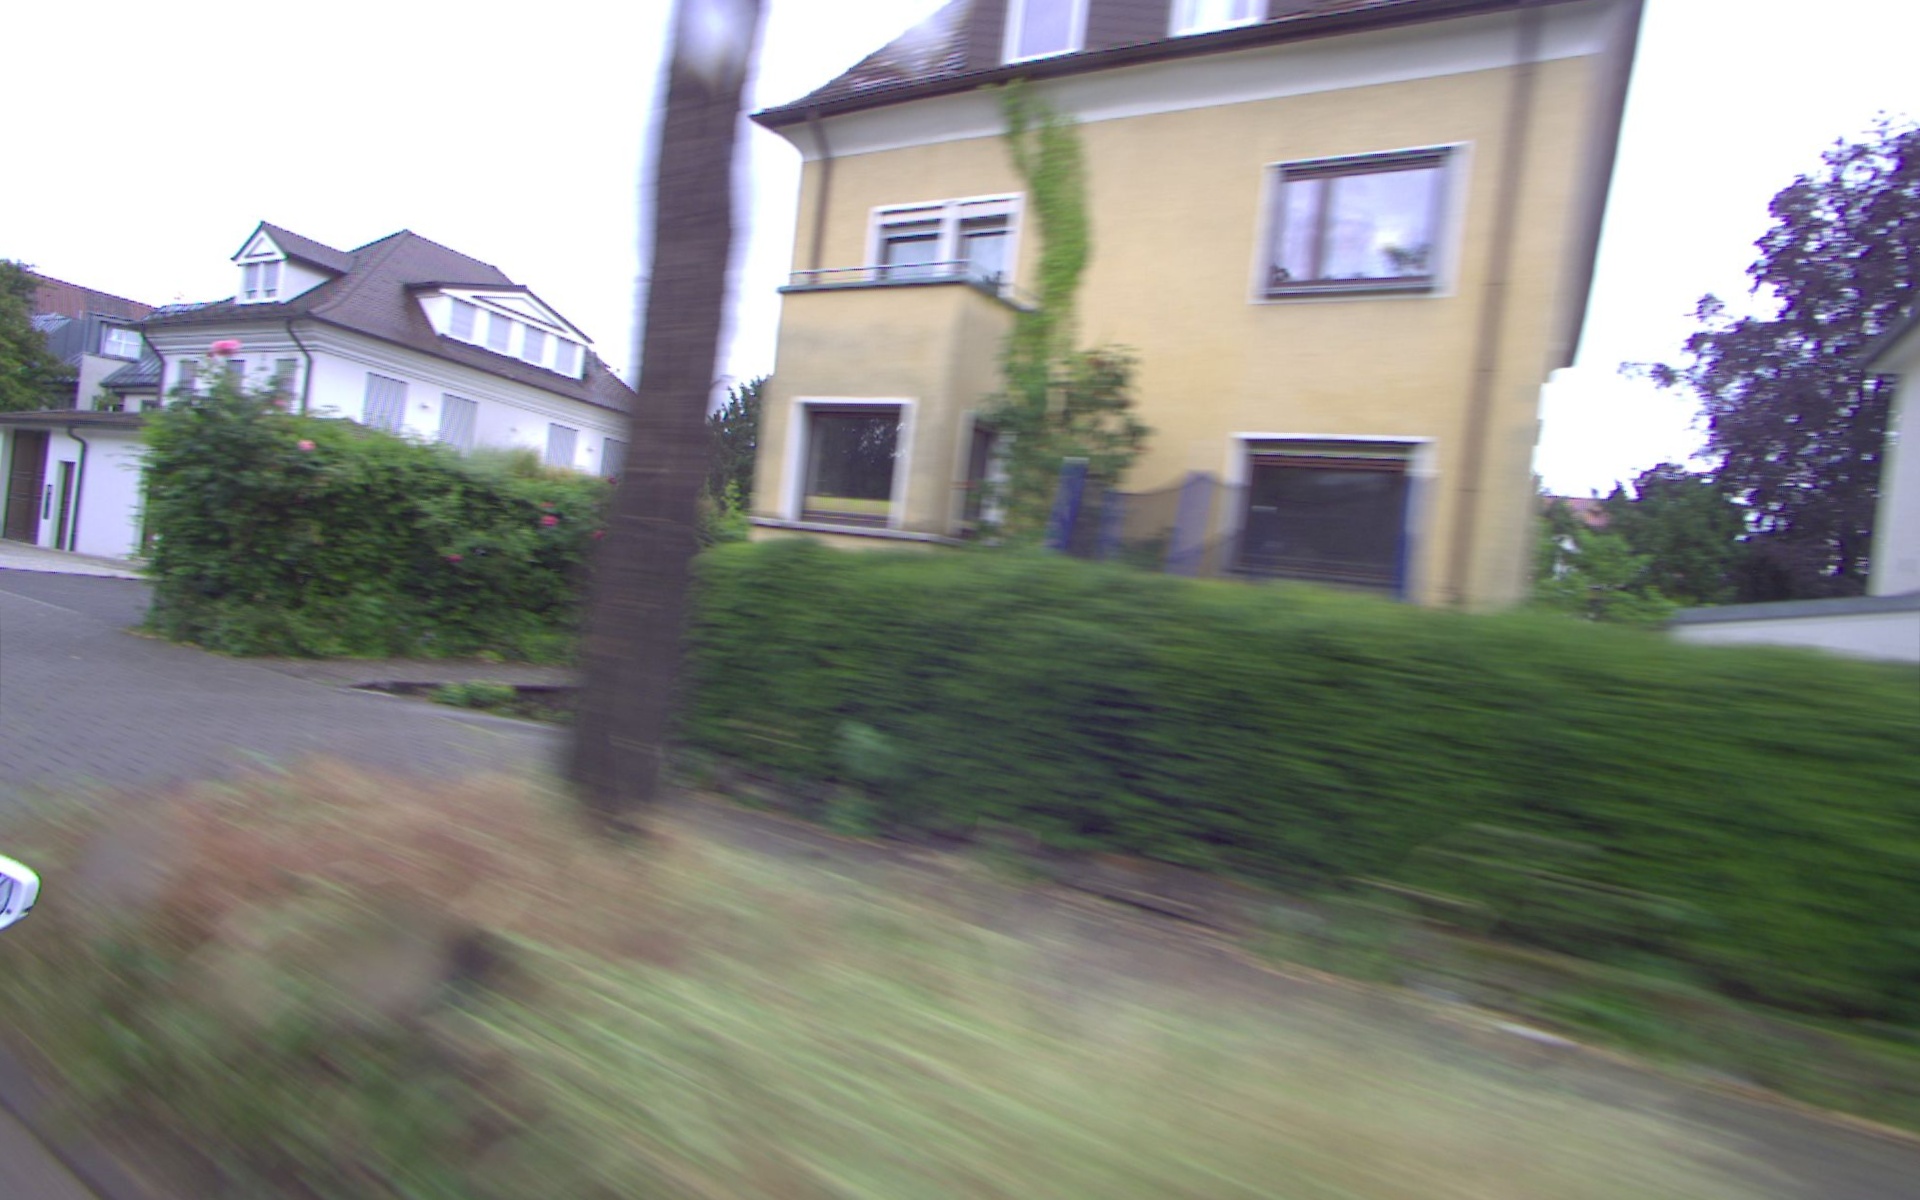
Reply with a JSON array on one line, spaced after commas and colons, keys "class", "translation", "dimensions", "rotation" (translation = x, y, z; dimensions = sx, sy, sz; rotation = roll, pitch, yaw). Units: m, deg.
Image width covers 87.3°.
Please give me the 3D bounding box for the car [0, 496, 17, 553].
[{"class": "car", "translation": [-22.766, -1.903, 22.229], "dimensions": [3.935, 1.190, 1.835], "rotation": [7, -2, 33]}]
